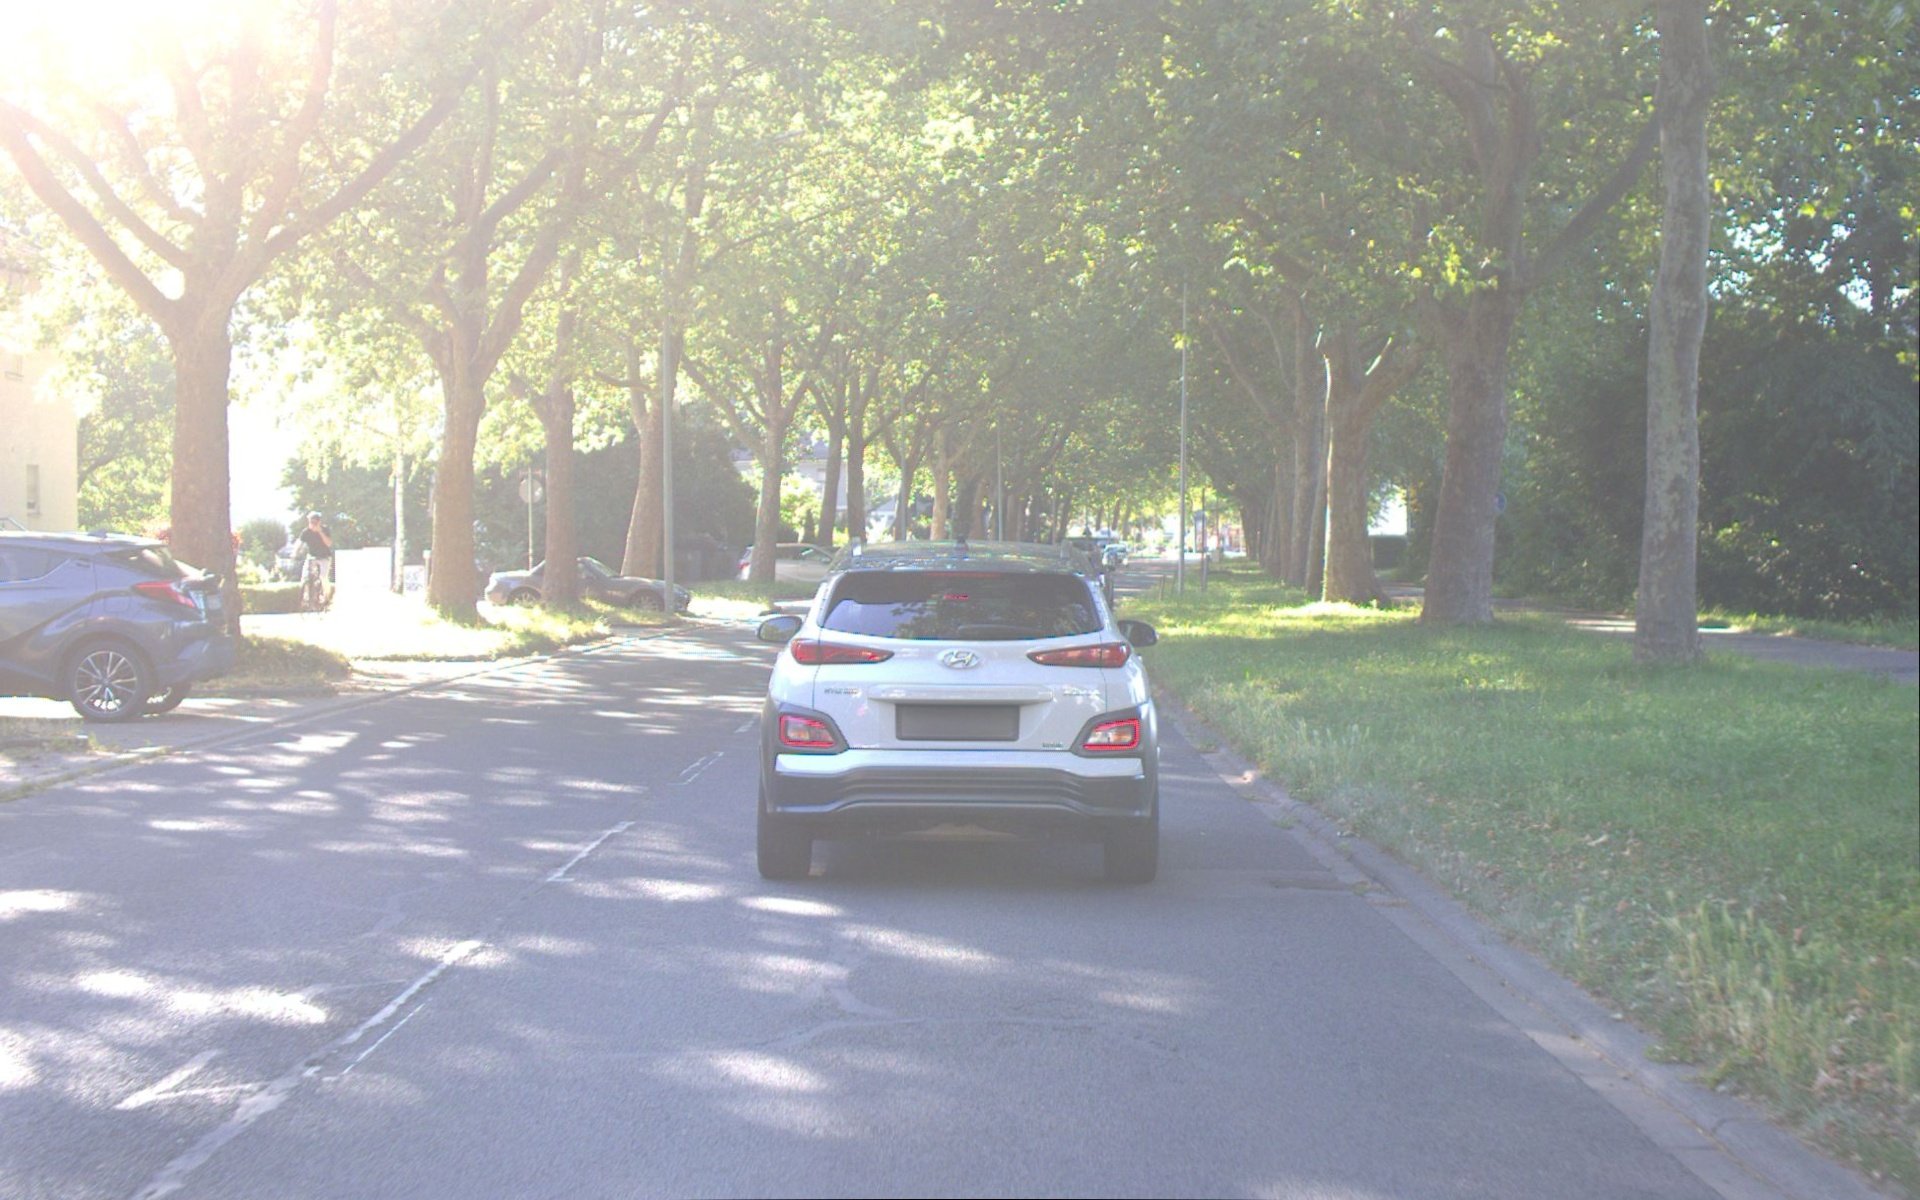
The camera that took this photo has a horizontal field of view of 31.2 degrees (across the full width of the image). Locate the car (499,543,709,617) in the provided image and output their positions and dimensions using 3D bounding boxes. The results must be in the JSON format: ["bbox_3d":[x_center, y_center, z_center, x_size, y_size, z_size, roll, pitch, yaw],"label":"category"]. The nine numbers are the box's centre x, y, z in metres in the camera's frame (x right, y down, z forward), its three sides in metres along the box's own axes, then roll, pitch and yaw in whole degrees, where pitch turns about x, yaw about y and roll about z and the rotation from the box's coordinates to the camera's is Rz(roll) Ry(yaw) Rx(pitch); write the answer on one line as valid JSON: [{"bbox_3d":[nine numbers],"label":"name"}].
[{"bbox_3d":[-6.917,-0.399,66.992,3.826,1.312,1.790,2,1,2],"label":"car"}]

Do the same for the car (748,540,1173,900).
[{"bbox_3d":[-0.093,0.486,16.881,1.835,1.550,4.001,0,1,-3],"label":"car"}]

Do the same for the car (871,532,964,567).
[{"bbox_3d":[-1.872,-2.233,151.817,3.987,1.515,1.809,0,1,4],"label":"car"}]

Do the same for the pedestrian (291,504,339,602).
[{"bbox_3d":[-11.312,-0.826,60.323,0.617,1.710,1.065,0,1,2],"label":"pedestrian"}]

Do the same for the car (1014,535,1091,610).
[{"bbox_3d":[2.126,-0.654,79.892,1.676,1.690,3.745,1,1,0],"label":"car"}]

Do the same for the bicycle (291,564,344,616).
[{"bbox_3d":[-11.269,-0.187,60.308,0.470,0.877,2.156,0,1,1],"label":"bicycle"}]

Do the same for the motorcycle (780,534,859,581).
[{"bbox_3d":[-4.353,-1.323,106.564,2.385,1.383,0.648,1,2,-1],"label":"motorcycle"}]

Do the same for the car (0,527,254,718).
[{"bbox_3d":[-8.014,0.153,28.415,3.988,1.513,1.817,1,1,-1],"label":"car"}]

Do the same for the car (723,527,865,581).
[{"bbox_3d":[-5.013,-1.410,104.250,4.183,1.579,2.000,1,1,0],"label":"car"}]
